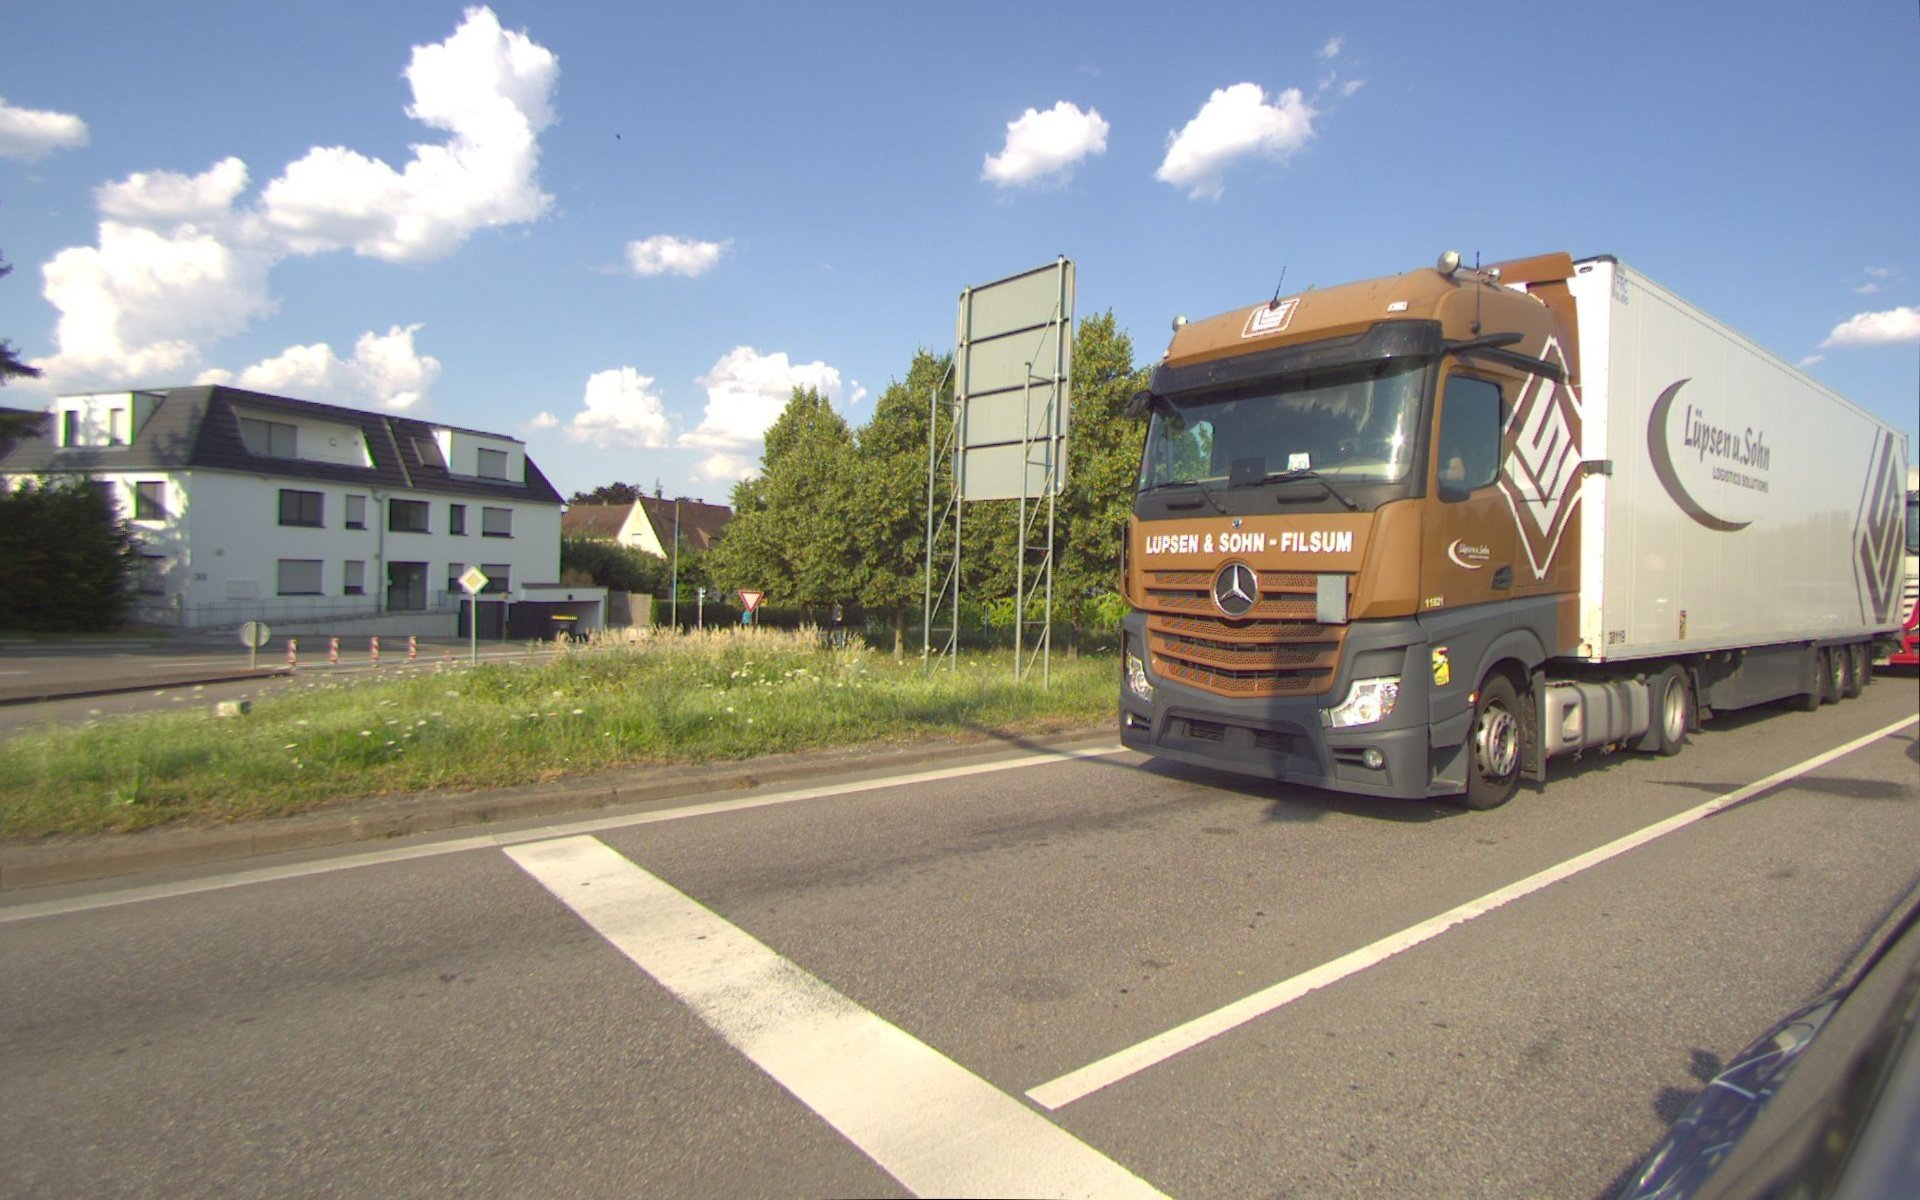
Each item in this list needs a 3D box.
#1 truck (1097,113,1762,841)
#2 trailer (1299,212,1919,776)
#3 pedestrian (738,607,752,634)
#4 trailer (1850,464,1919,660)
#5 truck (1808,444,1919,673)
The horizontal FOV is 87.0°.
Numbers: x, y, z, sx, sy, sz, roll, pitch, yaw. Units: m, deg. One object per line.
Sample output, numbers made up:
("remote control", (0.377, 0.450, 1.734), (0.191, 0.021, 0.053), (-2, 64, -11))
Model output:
("truck", (4.397, -0.746, 8.737), (6.541, 4.094, 2.538), (-1, 0, -38))
("trailer", (9.397, -0.827, 12.824), (14.077, 4.118, 2.537), (0, 0, -39))
("pedestrian", (-14.100, 1.343, 66.433), (0.610, 1.750, 0.635), (0, 0, 21))
("trailer", (22.435, -0.806, 22.646), (9.355, 3.825, 2.263), (-1, 0, -39))
("truck", (18.141, -0.740, 19.115), (5.584, 3.853, 2.260), (-1, 0, -39))
